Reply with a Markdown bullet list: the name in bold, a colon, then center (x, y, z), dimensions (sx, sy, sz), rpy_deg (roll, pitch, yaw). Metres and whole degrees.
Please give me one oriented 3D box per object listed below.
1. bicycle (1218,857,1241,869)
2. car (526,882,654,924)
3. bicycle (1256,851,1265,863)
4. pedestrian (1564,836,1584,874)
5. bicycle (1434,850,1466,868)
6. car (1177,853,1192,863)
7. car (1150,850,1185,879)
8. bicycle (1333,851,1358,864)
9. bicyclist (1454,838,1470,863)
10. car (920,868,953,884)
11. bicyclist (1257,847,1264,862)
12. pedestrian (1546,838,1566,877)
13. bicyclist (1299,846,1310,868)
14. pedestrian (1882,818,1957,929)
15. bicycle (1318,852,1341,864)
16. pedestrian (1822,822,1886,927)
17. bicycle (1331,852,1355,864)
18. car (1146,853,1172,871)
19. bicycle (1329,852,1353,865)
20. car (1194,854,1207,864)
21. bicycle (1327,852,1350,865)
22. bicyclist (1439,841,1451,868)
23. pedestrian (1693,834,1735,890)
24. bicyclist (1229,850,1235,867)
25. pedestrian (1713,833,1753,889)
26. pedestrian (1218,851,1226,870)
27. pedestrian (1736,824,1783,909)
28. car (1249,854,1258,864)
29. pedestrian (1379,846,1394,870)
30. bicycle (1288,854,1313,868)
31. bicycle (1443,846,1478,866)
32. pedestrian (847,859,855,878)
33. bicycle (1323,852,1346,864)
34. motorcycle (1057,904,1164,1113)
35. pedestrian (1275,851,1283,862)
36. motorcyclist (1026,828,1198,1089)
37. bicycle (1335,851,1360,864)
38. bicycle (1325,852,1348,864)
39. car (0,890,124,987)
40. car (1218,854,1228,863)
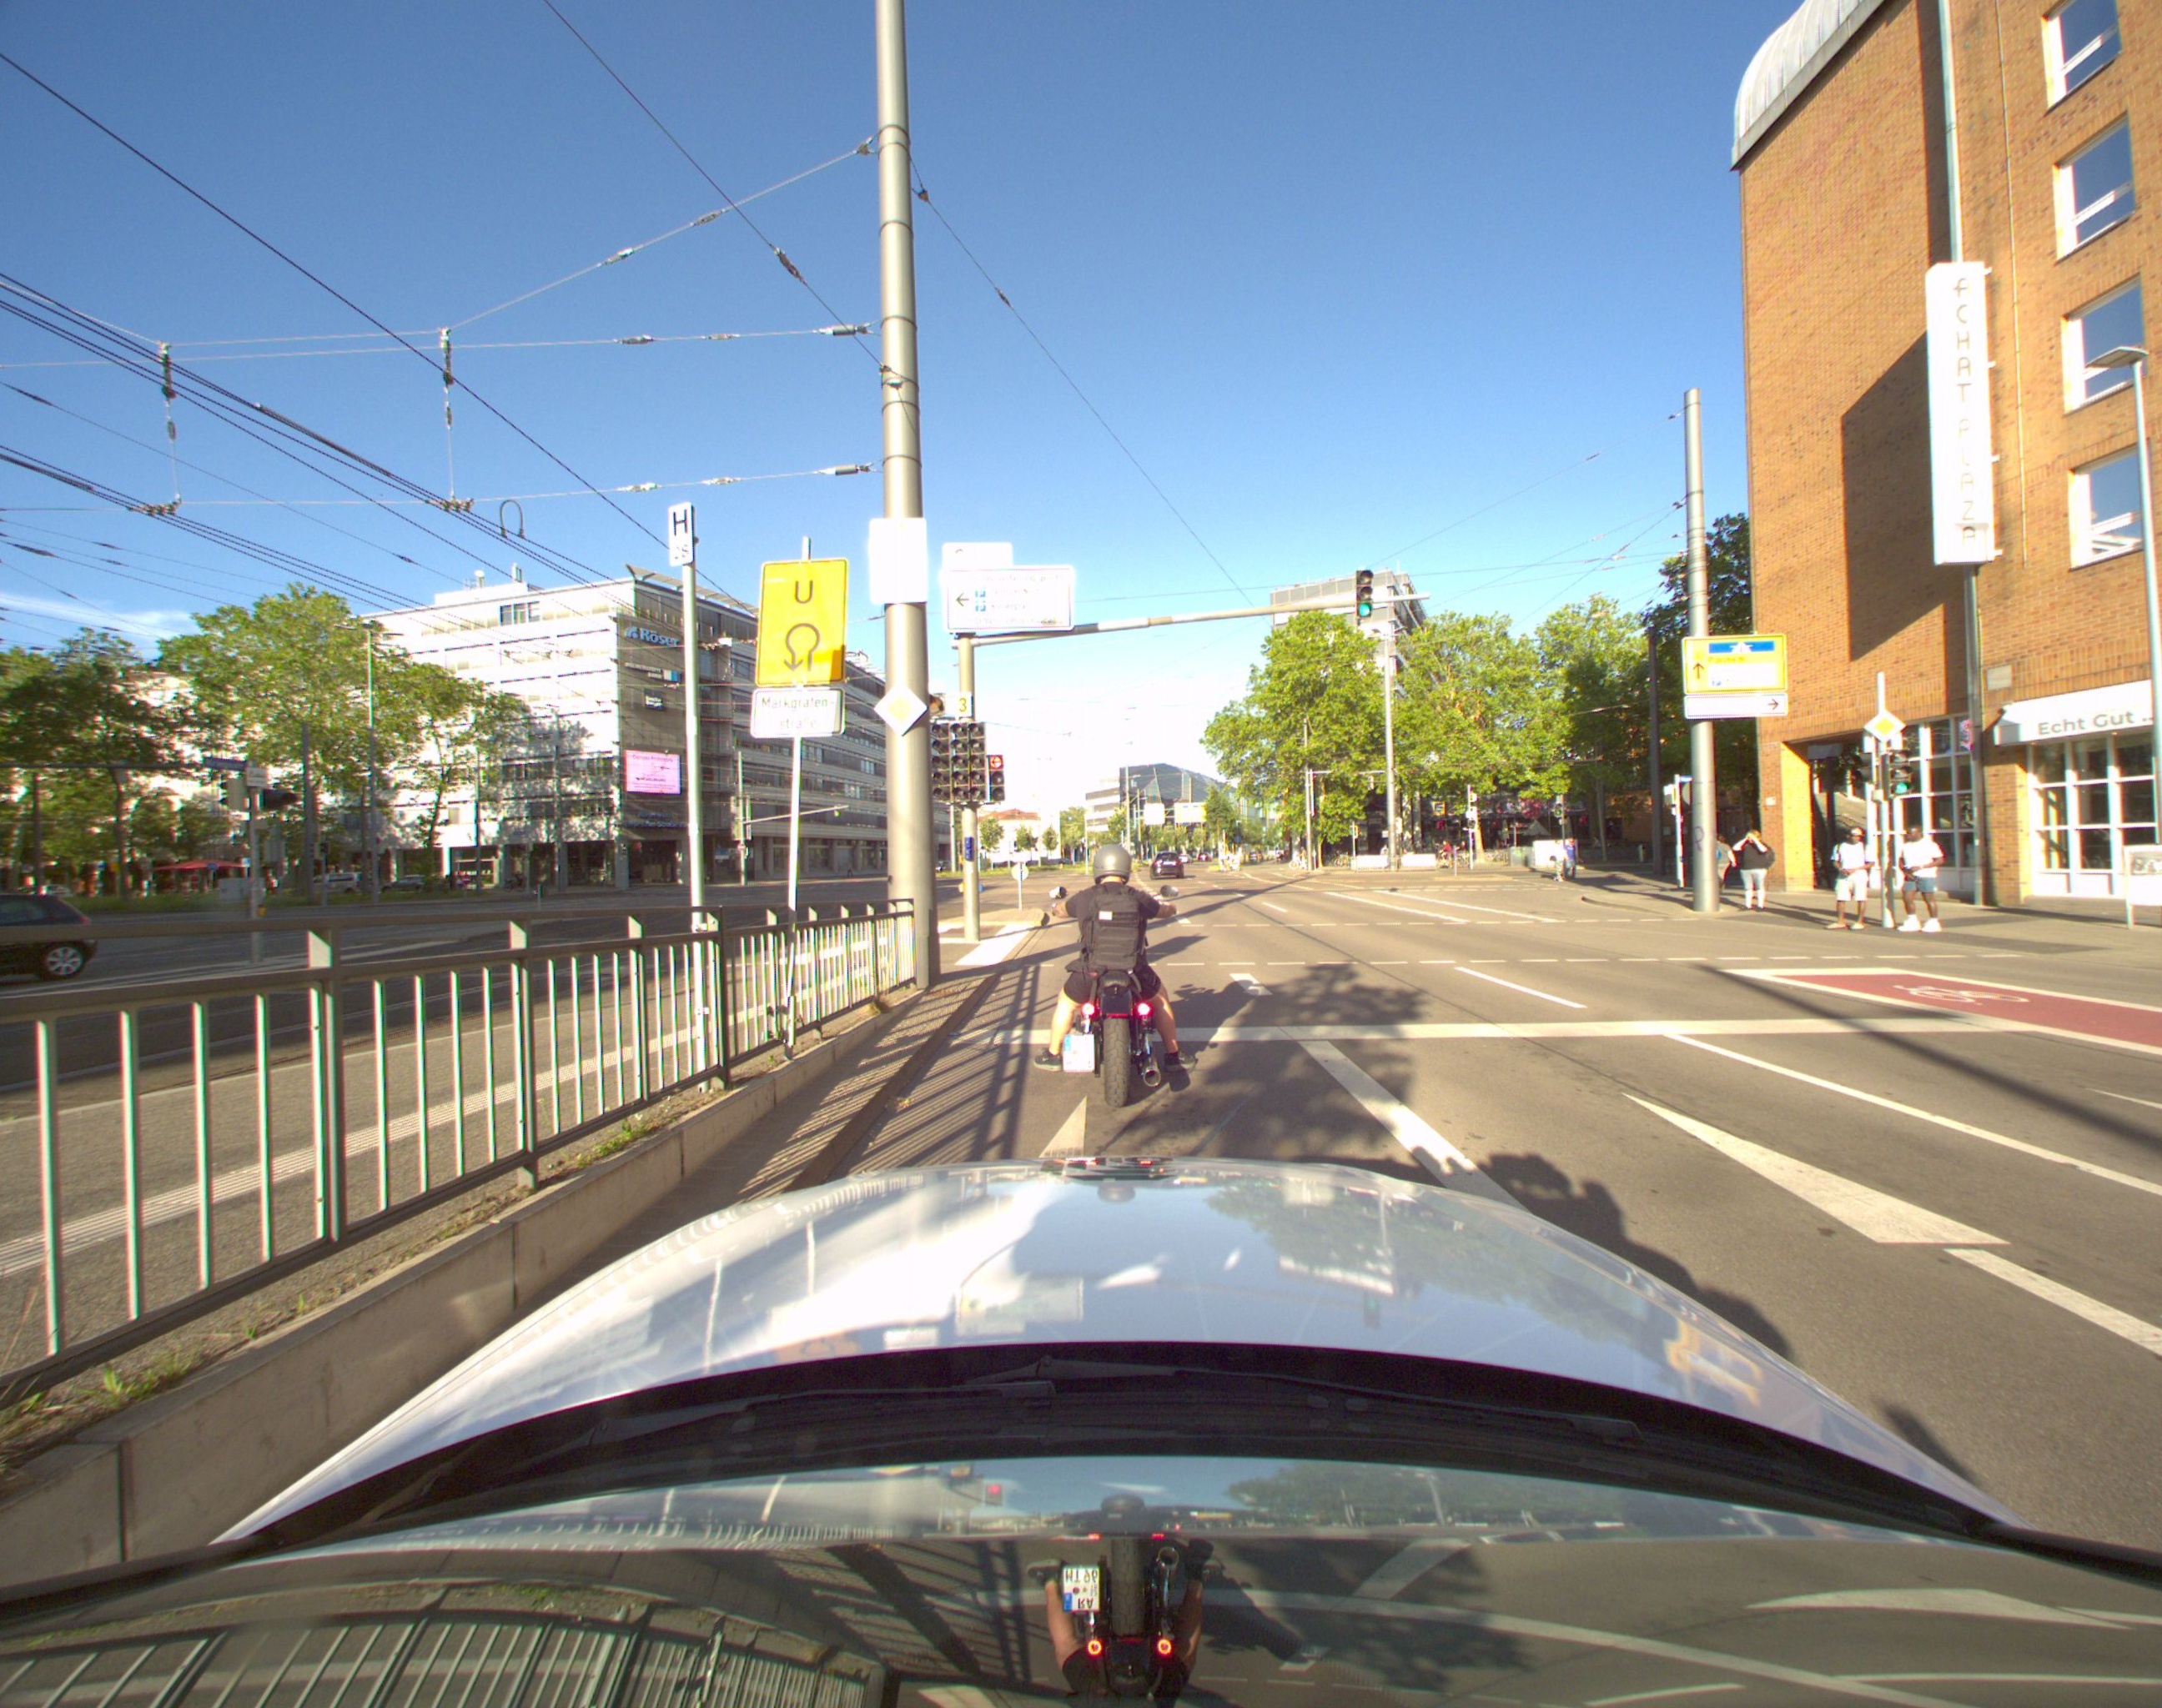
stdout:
- **bicycle**: center (12.182, 0.754, 66.944), dimensions (1.823, 0.925, 0.357), rpy_deg (0, -1, -7)
- **car**: center (-13.840, 1.356, 23.088), dimensions (2.884, 1.063, 1.235), rpy_deg (0, -1, -19)
- **bicycle**: center (20.898, 0.399, 94.926), dimensions (0.722, 1.367, 2.922), rpy_deg (0, -1, 6)
- **pedestrian**: center (19.518, 0.041, 32.226), dimensions (0.561, 1.479, 0.706), rpy_deg (-1, -1, 22)
- **bicycle**: center (25.425, 0.348, 56.134), dimensions (2.034, 1.214, 0.421), rpy_deg (0, -1, 2)
- **car**: center (16.006, 0.665, 125.998), dimensions (1.790, 1.430, 4.470), rpy_deg (-2, 0, 14)
- **car**: center (5.264, 0.600, 49.033), dimensions (1.793, 1.595, 4.464), rpy_deg (-2, 0, 9)
- **bicycle**: center (21.472, 0.307, 66.161), dimensions (1.874, 1.046, 0.360), rpy_deg (0, -1, 1)
- **bicyclist**: center (23.441, -0.189, 50.100), dimensions (0.635, 1.519, 0.562), rpy_deg (0, -1, -26)
- **car**: center (-13.986, 2.102, 79.053), dimensions (1.737, 1.524, 4.014), rpy_deg (-1, -1, 13)
- **bicyclist**: center (20.894, 0.055, 94.848), dimensions (0.693, 1.808, 0.730), rpy_deg (0, -1, 6)
- **pedestrian**: center (18.933, 0.134, 32.473), dimensions (0.561, 1.533, 0.706), rpy_deg (-1, -1, 22)
- **bicyclist**: center (17.806, 0.241, 64.885), dimensions (0.682, 1.673, 0.544), rpy_deg (-2, -2, 21)
- **pedestrian**: center (13.937, 0.321, 13.543), dimensions (0.682, 1.780, 0.589), rpy_deg (-2, -1, -24)
- **bicycle**: center (21.463, 0.357, 70.302), dimensions (1.874, 1.046, 0.360), rpy_deg (0, 0, 1)
- **pedestrian**: center (13.600, 0.350, 14.348), dimensions (0.586, 1.780, 0.686), rpy_deg (-5, 0, 32)
- **bicycle**: center (21.567, 0.330, 66.974), dimensions (1.874, 1.046, 0.360), rpy_deg (0, -1, 1)
- **car**: center (6.536, 0.659, 68.308), dimensions (1.797, 1.430, 4.453), rpy_deg (-2, 0, 1)
- **bicycle**: center (21.542, 0.349, 67.531), dimensions (1.874, 1.046, 0.360), rpy_deg (0, 0, 1)
- **car**: center (20.704, 0.925, 140.606), dimensions (1.790, 1.678, 4.055), rpy_deg (0, -1, 14)
- **bicycle**: center (21.545, 0.357, 68.163), dimensions (1.874, 1.046, 0.360), rpy_deg (0, -1, 1)
- **bicyclist**: center (25.097, 0.042, 56.153), dimensions (0.582, 1.837, 0.403), rpy_deg (0, -1, 1)
- **pedestrian**: center (16.970, 0.220, 21.843), dimensions (0.590, 1.452, 0.601), rpy_deg (-2, -1, 2)
- **bicyclist**: center (12.435, 0.393, 66.974), dimensions (0.380, 1.373, 0.344), rpy_deg (0, -1, -7)
- **pedestrian**: center (17.620, 0.189, 22.018), dimensions (0.590, 1.476, 0.552), rpy_deg (-2, -1, 2)
- **pedestrian**: center (11.854, 0.539, 68.590), dimensions (0.587, 1.557, 0.488), rpy_deg (0, -1, -6)
- **pedestrian**: center (14.610, 0.269, 17.533), dimensions (0.727, 1.792, 0.515), rpy_deg (-1, -1, 42)
- **car**: center (32.137, 1.007, 151.605), dimensions (1.519, 1.838, 3.589), rpy_deg (-1, -1, 15)
- **pedestrian**: center (22.665, 0.294, 60.341), dimensions (0.829, 1.704, 0.760), rpy_deg (0, -1, 2)
- **bicycle**: center (17.533, 0.566, 64.984), dimensions (1.854, 1.044, 0.540), rpy_deg (-1, -1, 20)
- **bicycle**: center (23.308, 0.130, 50.023), dimensions (2.333, 1.178, 0.563), rpy_deg (0, -1, -25)
- **pedestrian**: center (-25.180, 1.598, 89.197), dimensions (0.628, 2.014, 0.754), rpy_deg (0, -1, 2)
- **bicycle**: center (21.502, 0.351, 69.150), dimensions (1.874, 1.046, 0.360), rpy_deg (0, 0, 1)
- **motorcycle**: center (0.200, 0.942, 5.723), dimensions (0.598, 1.036, 2.235), rpy_deg (0, 0, 2)
- **pedestrian**: center (21.971, 0.282, 90.363), dimensions (0.814, 1.314, 0.640), rpy_deg (-1, -1, 11)
- **motorcyclist**: center (0.203, 0.651, 5.491), dimensions (1.027, 1.593, 0.874), rpy_deg (-2, 0, 1)
- **bicycle**: center (21.364, 0.285, 65.379), dimensions (1.874, 1.046, 0.360), rpy_deg (0, -1, 1)
- **bicycle**: center (21.536, 0.351, 68.649), dimensions (1.874, 1.046, 0.360), rpy_deg (0, 0, 1)
- **car**: center (-17.405, 1.313, 11.927), dimensions (1.821, 1.430, 4.237), rpy_deg (0, -1, -2)
- **car**: center (26.955, 0.876, 154.611), dimensions (1.717, 1.838, 3.589), rpy_deg (-1, -1, 14)
